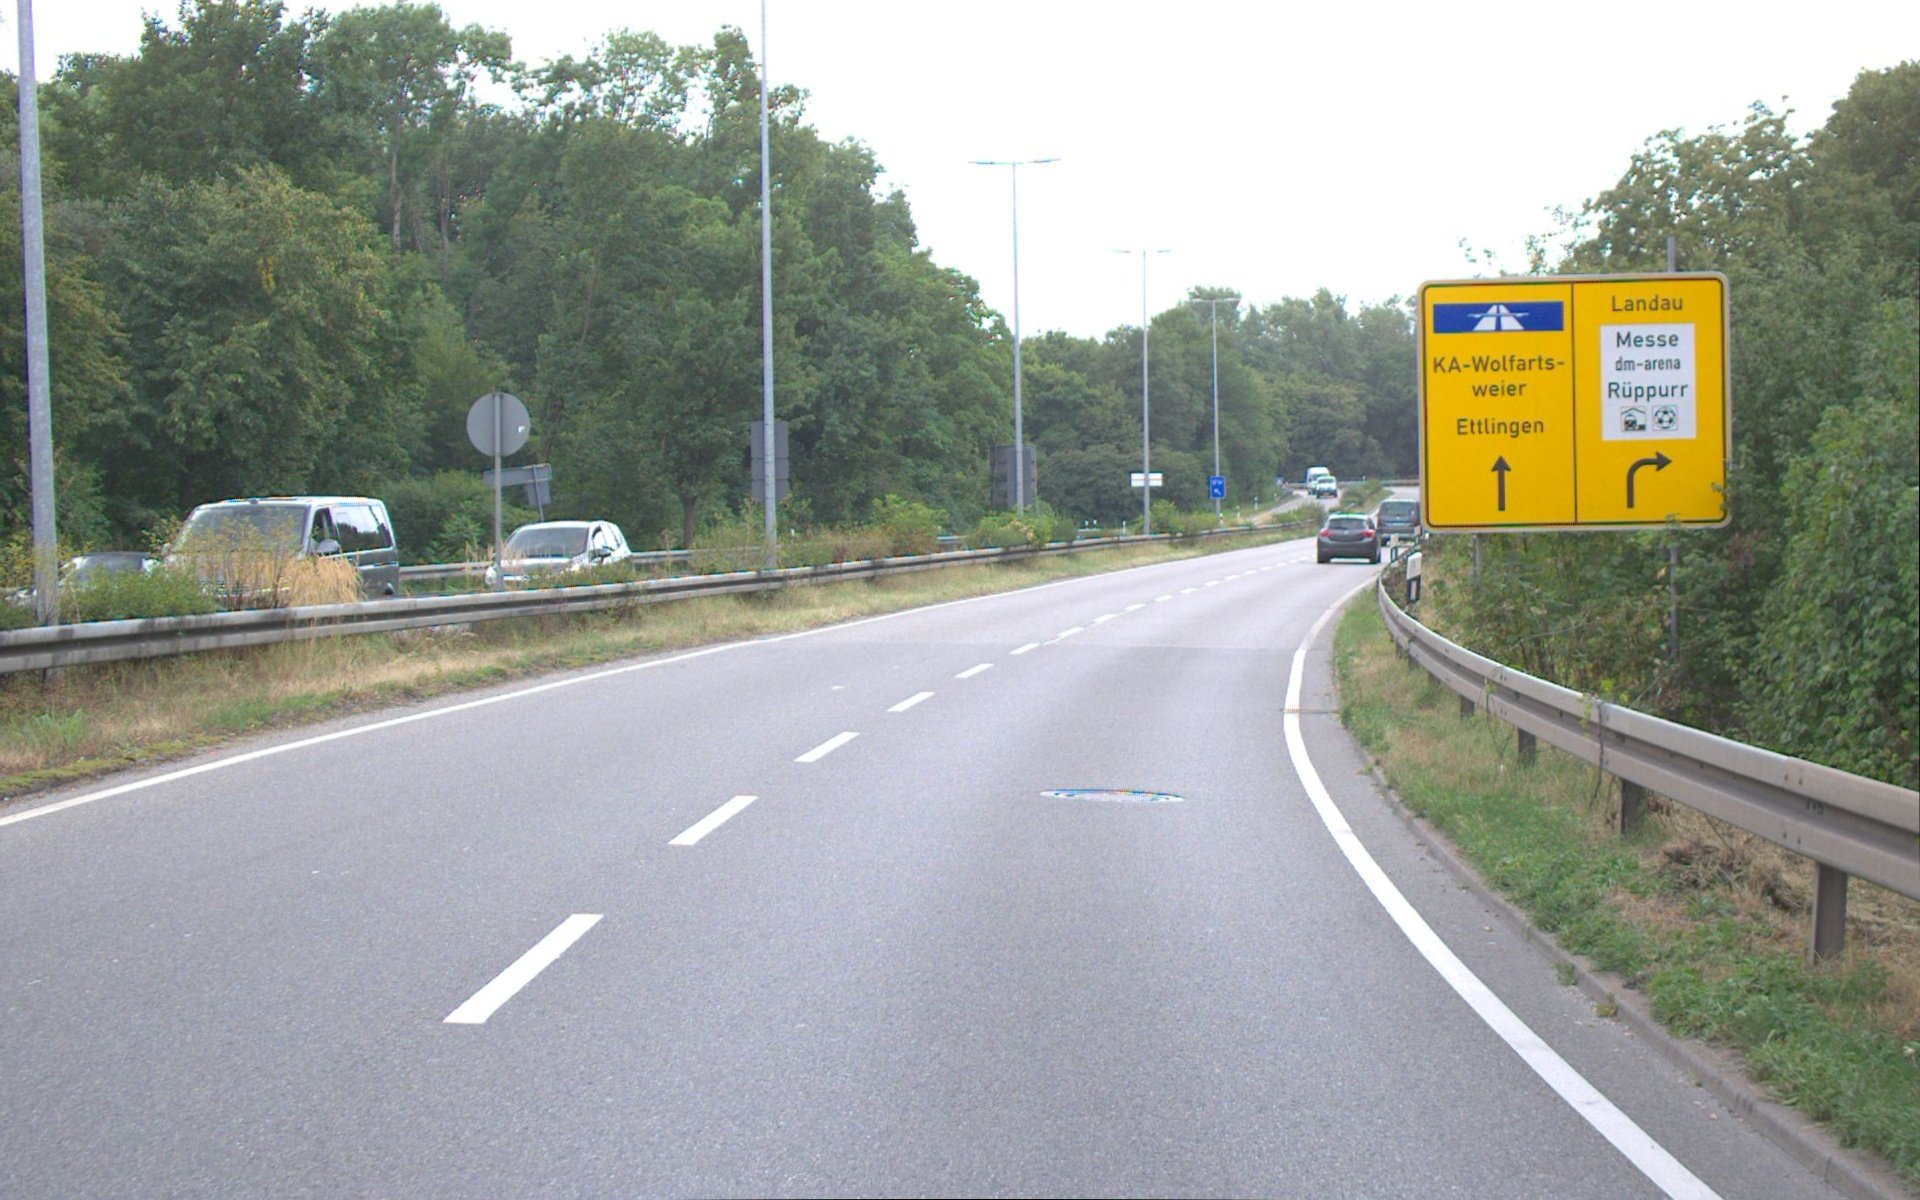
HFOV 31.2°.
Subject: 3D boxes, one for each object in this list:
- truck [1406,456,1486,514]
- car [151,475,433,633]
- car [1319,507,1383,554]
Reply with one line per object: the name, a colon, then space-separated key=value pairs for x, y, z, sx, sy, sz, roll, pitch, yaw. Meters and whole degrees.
truck: x=25.785 y=-6.042 z=182.118 sx=2.983 sy=2.875 sz=7.984 roll=0 pitch=0 yaw=17
car: x=-8.322 y=-0.565 z=43.354 sx=2.010 sy=1.857 sz=5.277 roll=0 pitch=0 yaw=6
car: x=11.820 y=-2.085 z=103.749 sx=1.626 sy=1.373 sz=3.998 roll=0 pitch=0 yaw=11
